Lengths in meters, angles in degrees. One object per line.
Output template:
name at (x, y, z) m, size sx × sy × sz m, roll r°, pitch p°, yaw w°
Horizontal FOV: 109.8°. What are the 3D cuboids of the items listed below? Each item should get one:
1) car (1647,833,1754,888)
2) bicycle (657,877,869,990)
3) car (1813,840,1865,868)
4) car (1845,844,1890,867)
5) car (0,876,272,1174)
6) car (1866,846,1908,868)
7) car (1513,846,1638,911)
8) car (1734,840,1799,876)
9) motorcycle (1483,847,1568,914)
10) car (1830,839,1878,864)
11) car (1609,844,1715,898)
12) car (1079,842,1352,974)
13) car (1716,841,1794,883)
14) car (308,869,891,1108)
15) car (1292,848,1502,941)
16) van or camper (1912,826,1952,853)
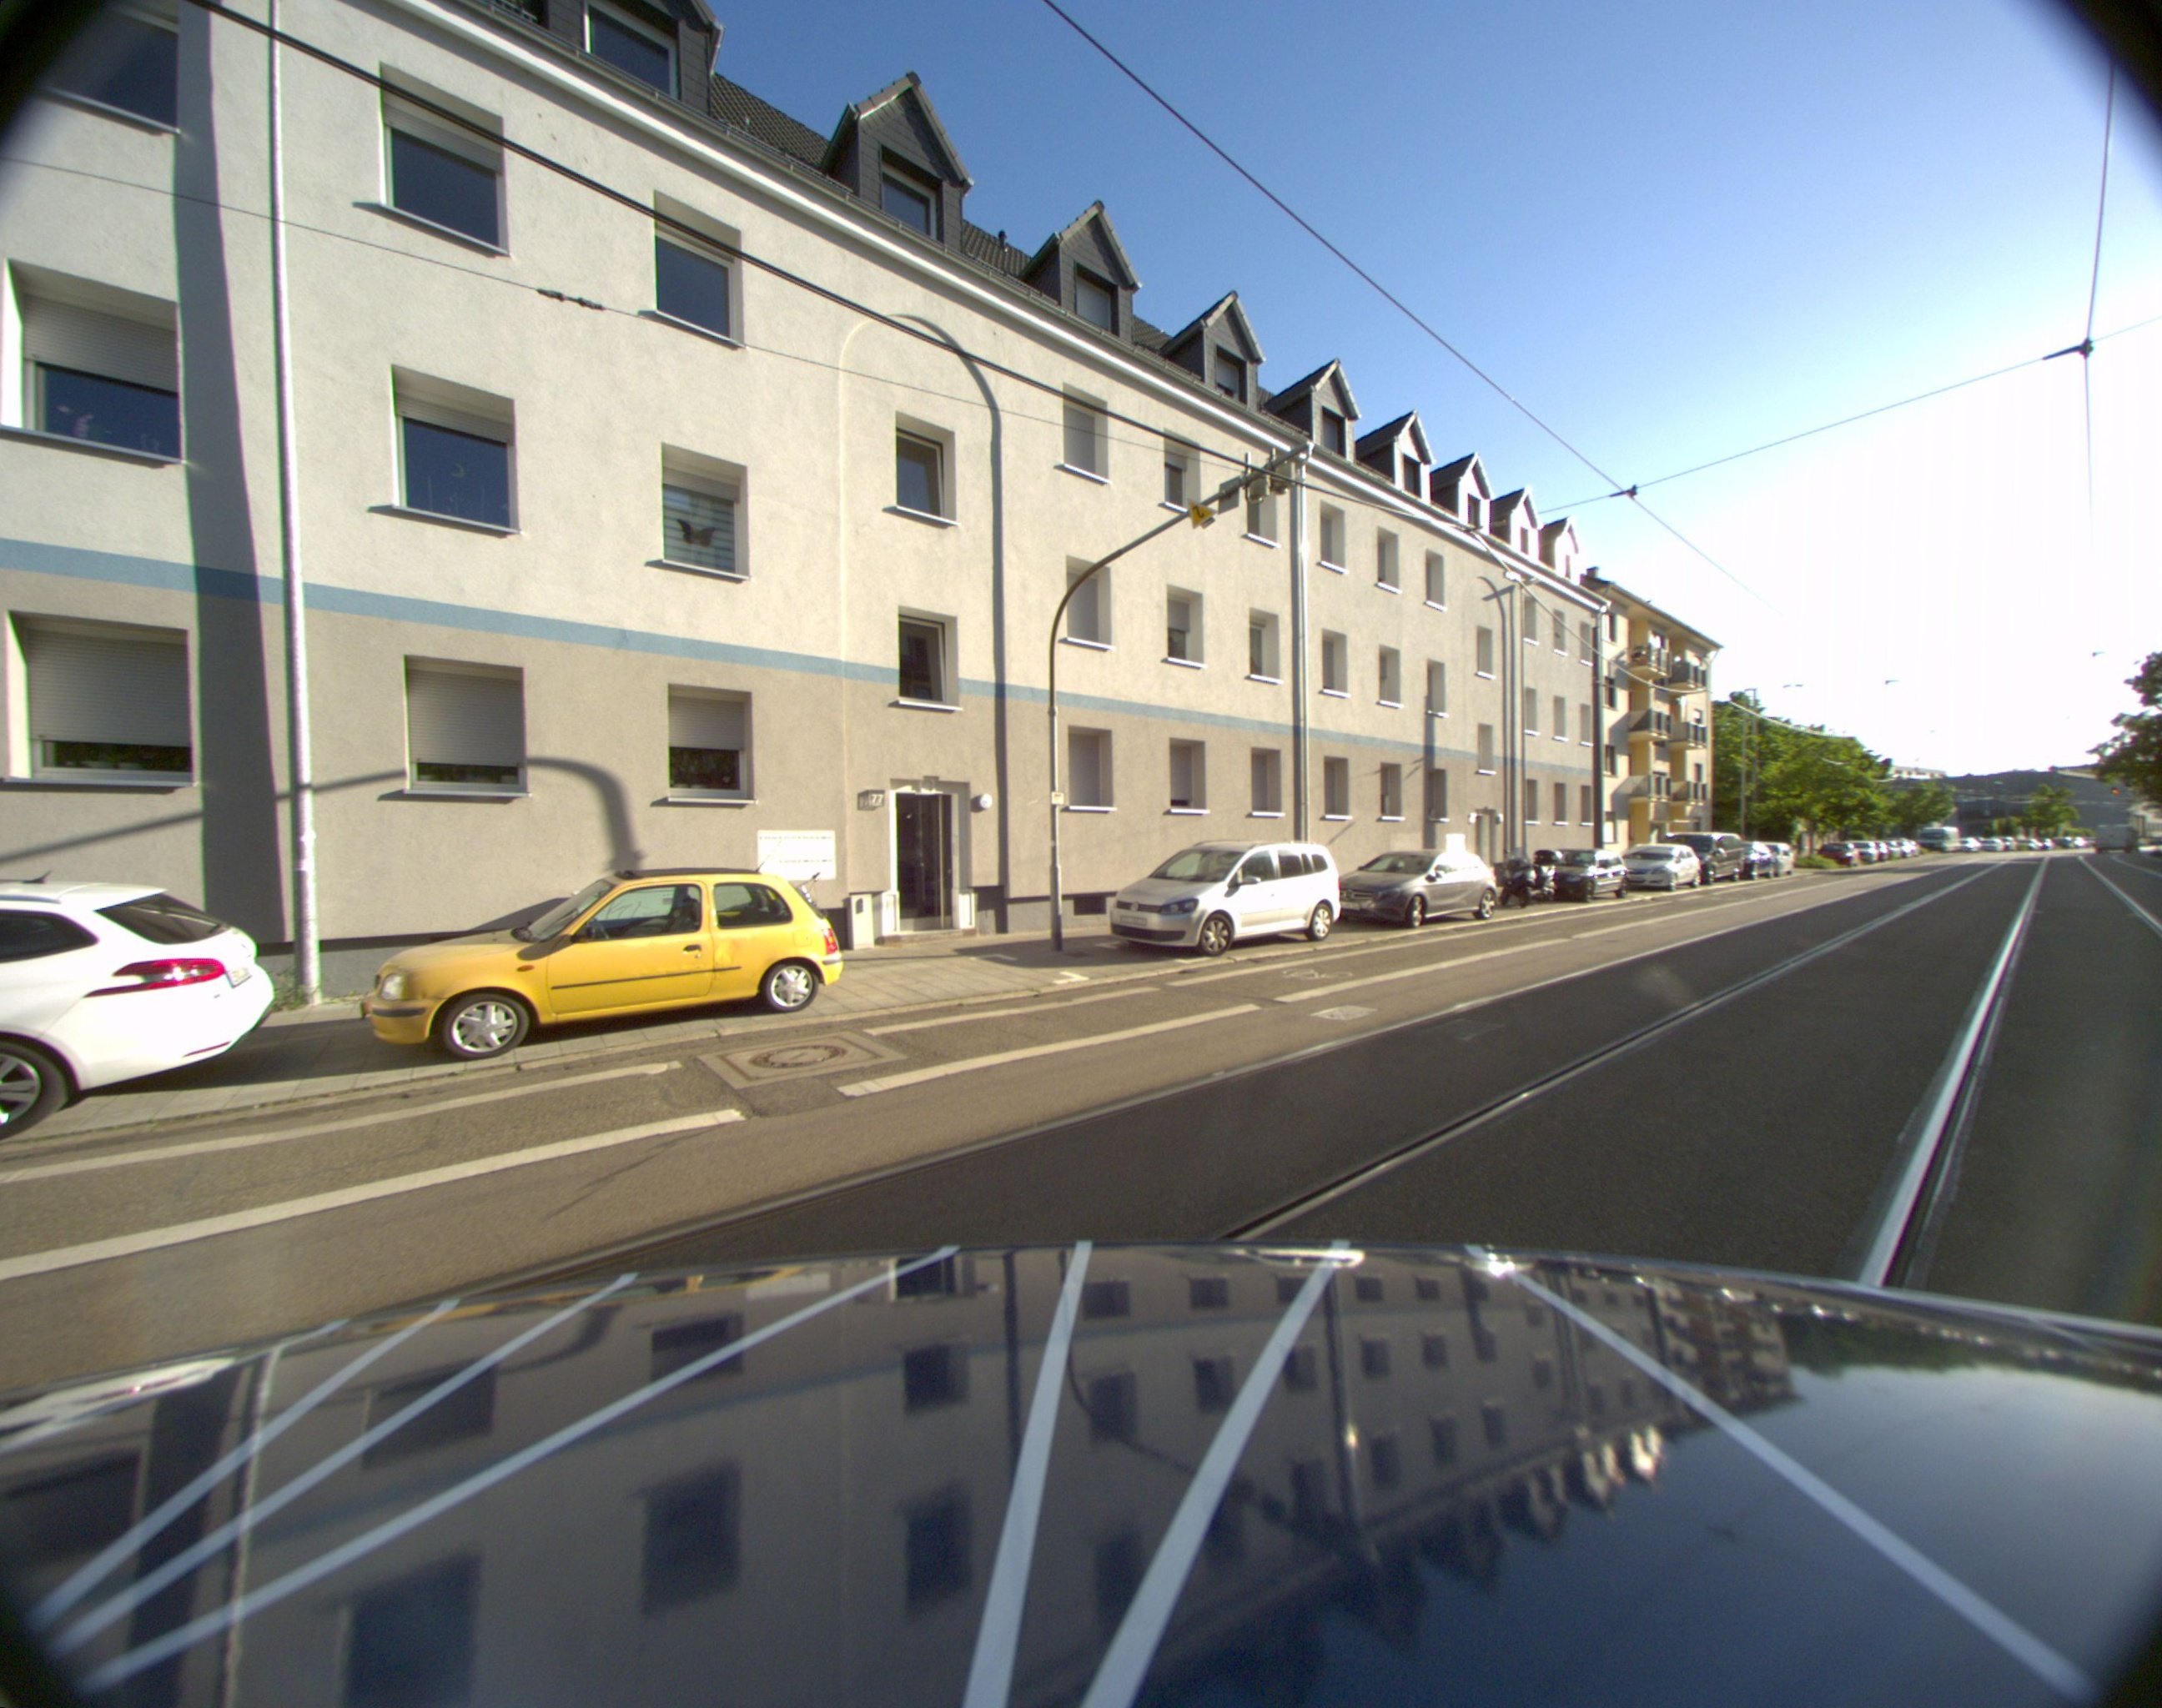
car at (23.532, 0.156, 28.813) m, size 5.013 × 1.910 × 1.930 m, roll -2°, pitch 3°, yaw -37°
bicycle at (-4.135, 0.964, 9.998) m, size 2.331 × 1.190 × 1.096 m, roll -2°, pitch 1°, yaw -39°
car at (46.080, -0.047, 46.164) m, size 4.486 × 1.562 × 1.609 m, roll -2°, pitch 3°, yaw -38°
car at (57.578, 0.091, 55.581) m, size 4.486 × 1.562 × 1.824 m, roll -2°, pitch 3°, yaw -39°
car at (-7.740, 1.024, 3.992) m, size 4.518 × 1.562 × 1.680 m, roll -2°, pitch 3°, yaw -38°
car at (61.807, 0.202, 58.249) m, size 4.486 × 1.562 × 1.824 m, roll -2°, pitch 3°, yaw -39°
car at (13.740, 0.608, 21.061) m, size 3.911 × 1.562 × 1.609 m, roll -2°, pitch 3°, yaw -37°
car at (31.302, 0.135, 34.675) m, size 3.639 × 1.534 × 1.553 m, roll -2°, pitch 3°, yaw -38°
motorcycle at (10.986, 0.607, 18.730) m, size 2.713 × 1.513 × 0.806 m, roll -2°, pitch 3°, yaw -37°
car at (53.234, -0.190, 52.325) m, size 4.486 × 1.562 × 1.824 m, roll -2°, pitch 3°, yaw -39°
car at (19.001, 0.483, 24.802) m, size 3.911 × 1.562 × 1.801 m, roll -2°, pitch 3°, yaw -39°
car at (2.297, 0.680, 12.140) m, size 4.635 × 1.656 × 1.755 m, roll -2°, pitch 3°, yaw -41°
car at (27.995, 0.293, 31.520) m, size 4.226 × 1.562 × 1.609 m, roll -2°, pitch 3°, yaw -38°
car at (-4.102, 0.969, 7.132) m, size 4.209 × 1.423 × 1.514 m, roll -2°, pitch 3°, yaw -38°
car at (6.496, 0.703, 15.483) m, size 4.374 × 1.546 × 1.864 m, roll -1°, pitch 3°, yaw -35°
van or camper at (86.328, -1.496, 77.063) m, size 5.703 × 2.548 × 2.087 m, roll -2°, pitch 1°, yaw -36°
